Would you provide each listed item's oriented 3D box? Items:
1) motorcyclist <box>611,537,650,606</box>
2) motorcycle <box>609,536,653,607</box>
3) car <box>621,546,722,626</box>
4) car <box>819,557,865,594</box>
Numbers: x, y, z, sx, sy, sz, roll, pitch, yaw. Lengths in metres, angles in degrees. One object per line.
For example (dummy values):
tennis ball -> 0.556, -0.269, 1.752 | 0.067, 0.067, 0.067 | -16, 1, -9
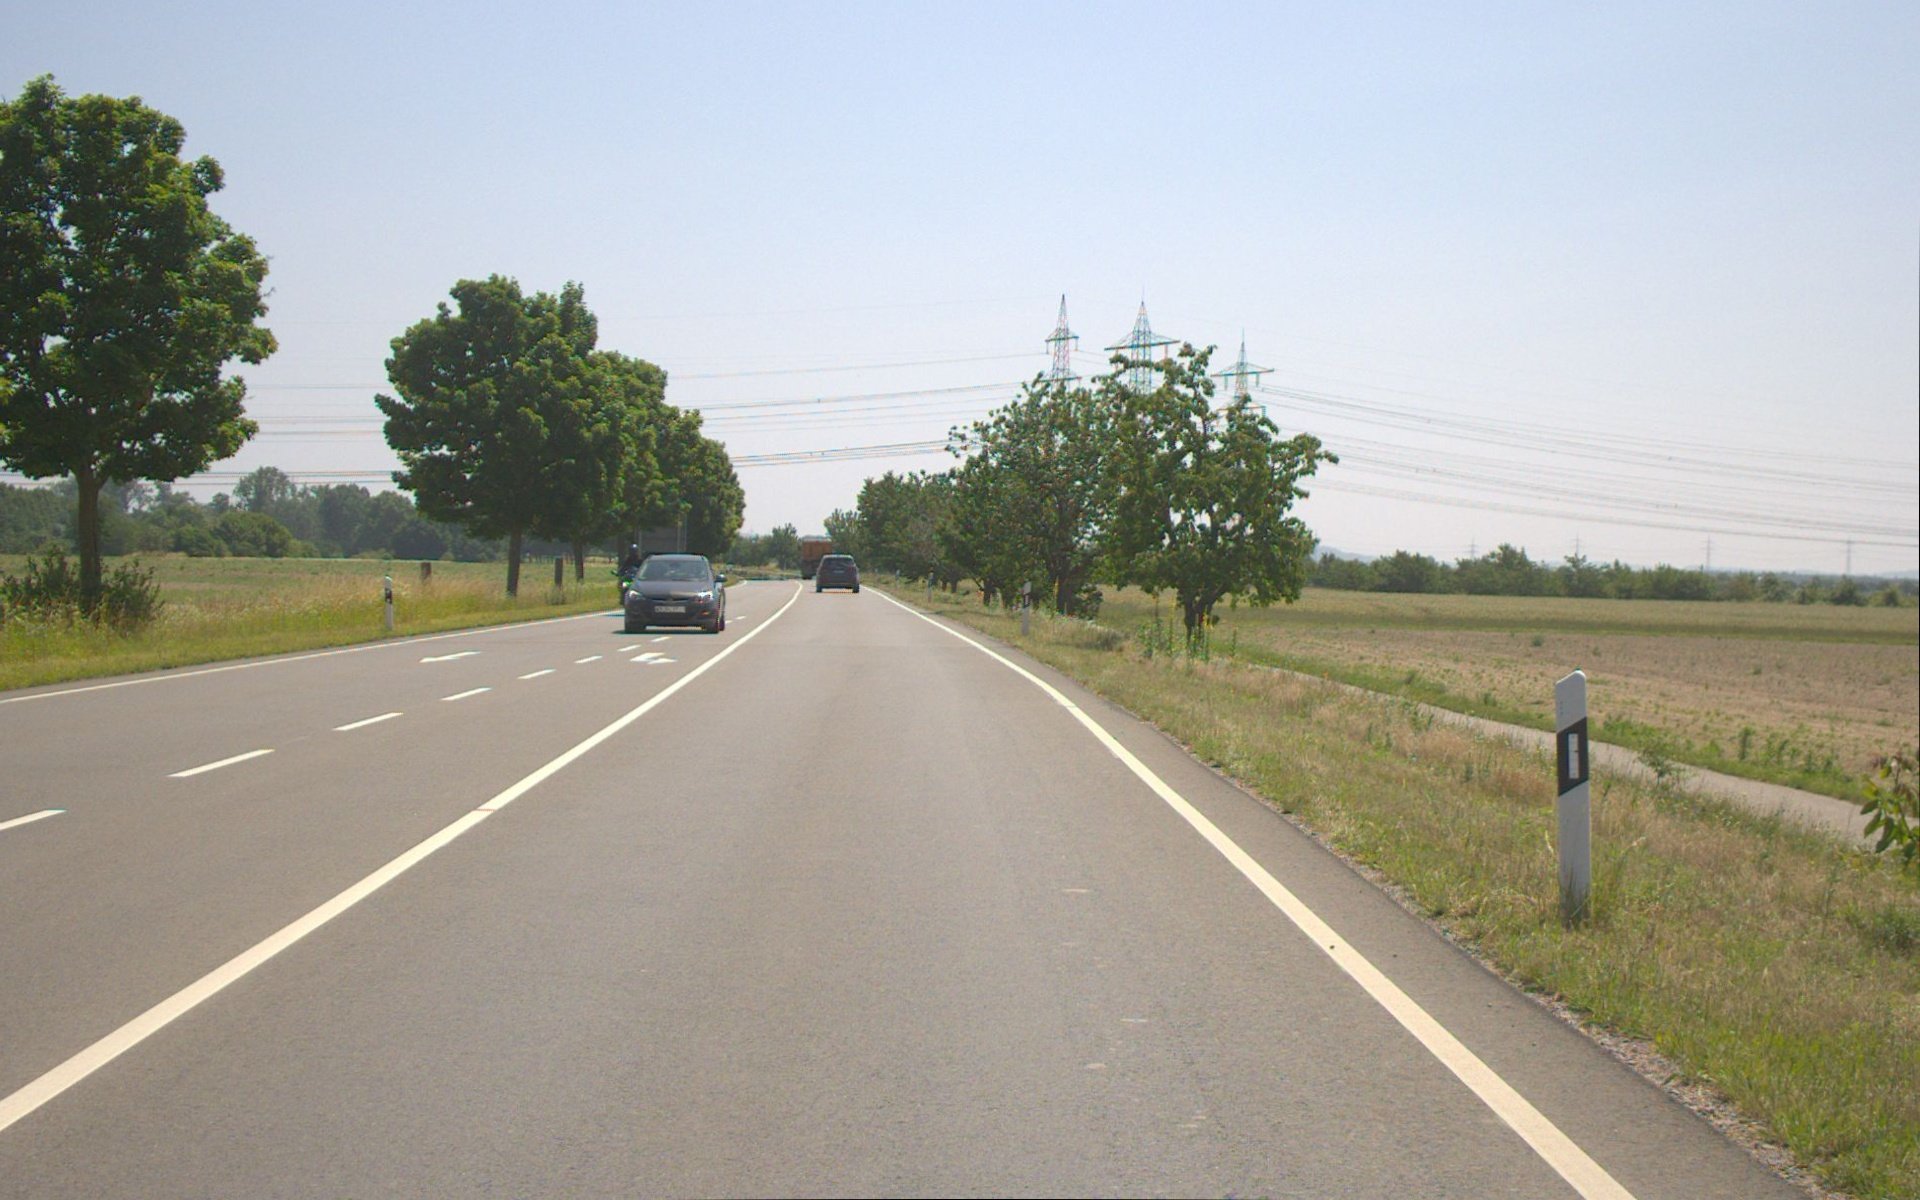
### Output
motorcyclist -> -8.225, -0.717, 85.883 | 0.853, 1.715, 1.088 | 1, 1, 1
motorcycle -> -8.227, -0.731, 86.082 | 0.888, 1.737, 2.445 | 1, 1, -1
car -> -5.521, -0.289, 66.166 | 1.739, 1.468, 4.619 | 1, 1, -3
car -> -5.270, -1.109, 153.118 | 1.884, 1.513, 4.040 | 4, 1, -3
